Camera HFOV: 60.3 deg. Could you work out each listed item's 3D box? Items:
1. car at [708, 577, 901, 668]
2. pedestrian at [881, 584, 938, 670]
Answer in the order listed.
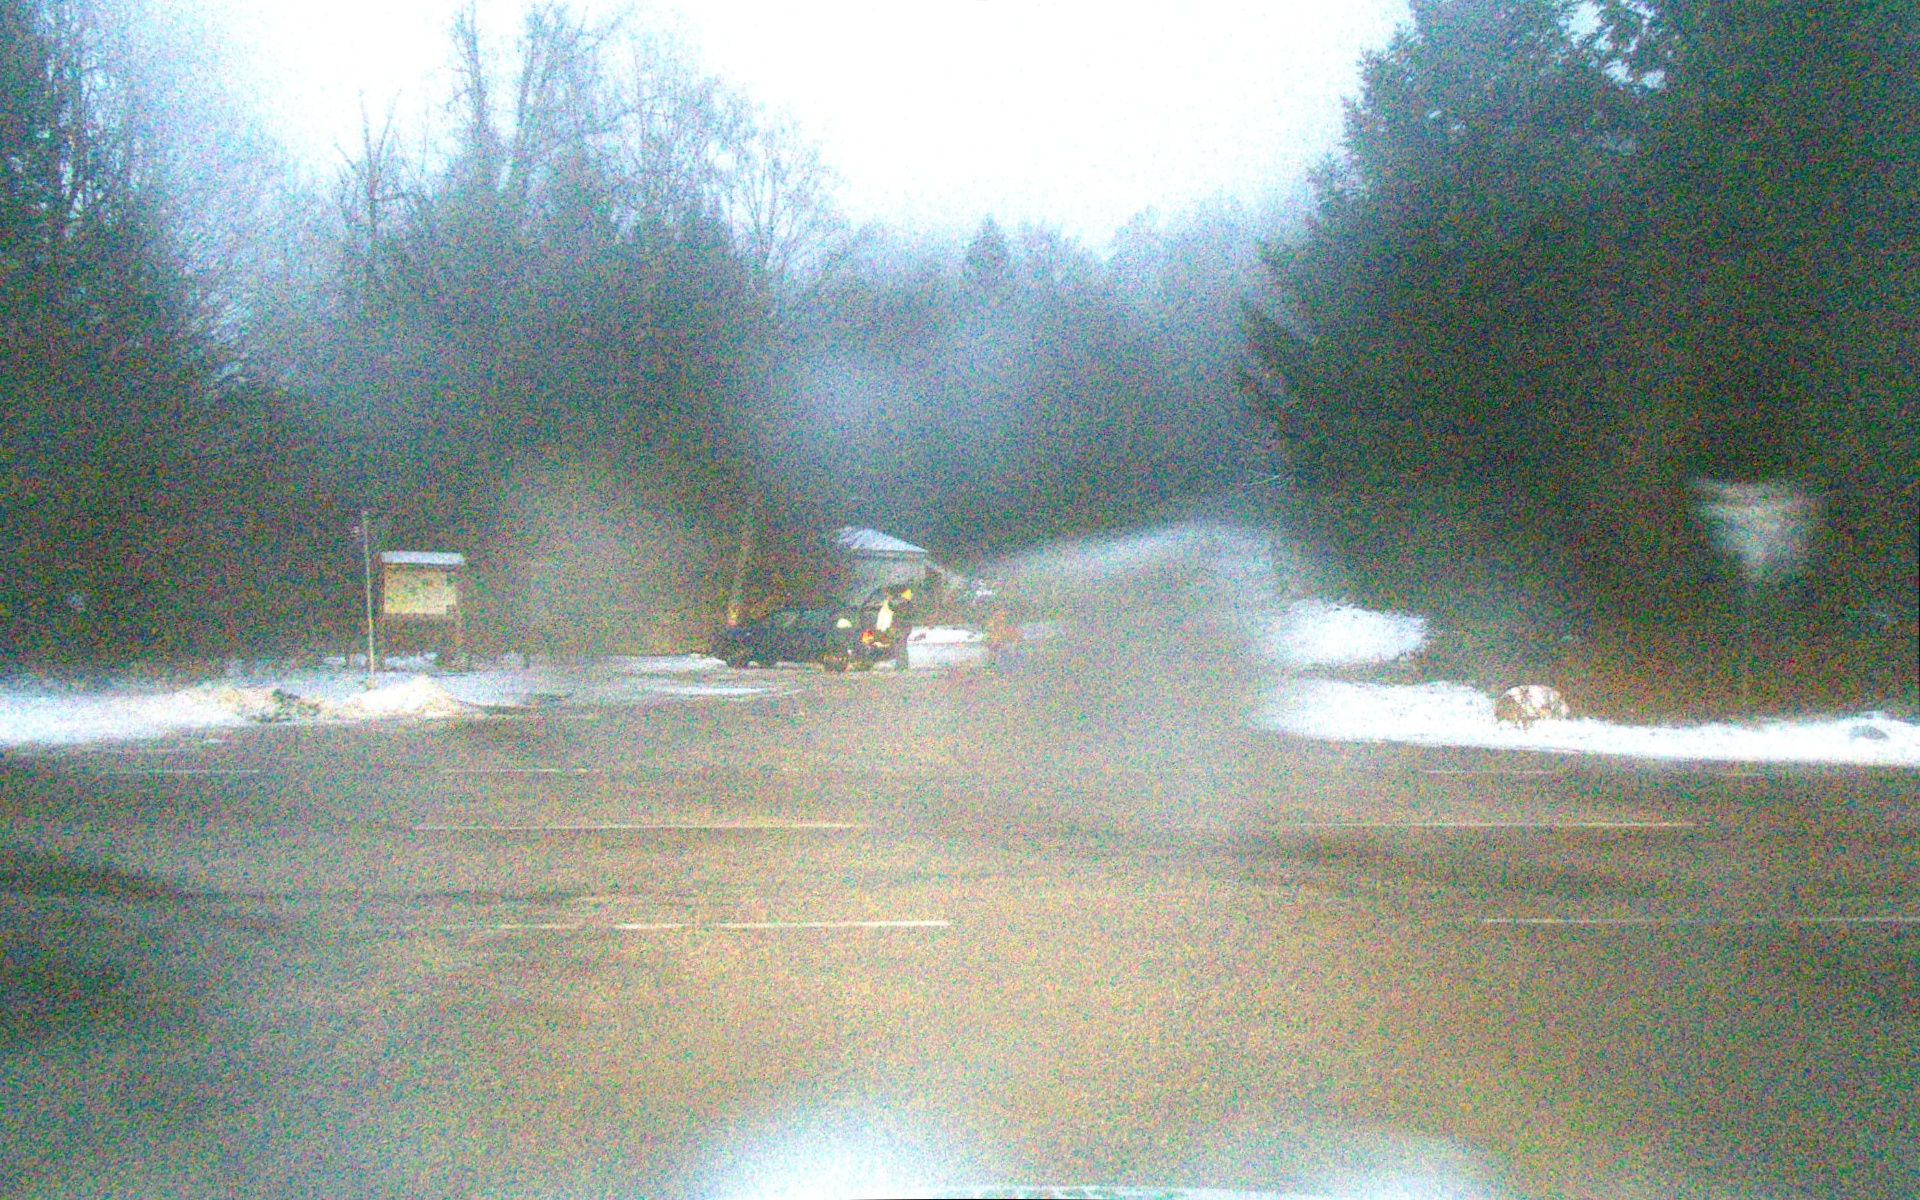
[{"bbox_3d":[-3.507,0.508,37.604,3.863,1.914,2.001,1,-1,16],"label":"car"},{"bbox_3d":[-1.114,0.596,36.587,0.941,1.860,0.925,1,-2,20],"label":"pedestrian"}]
